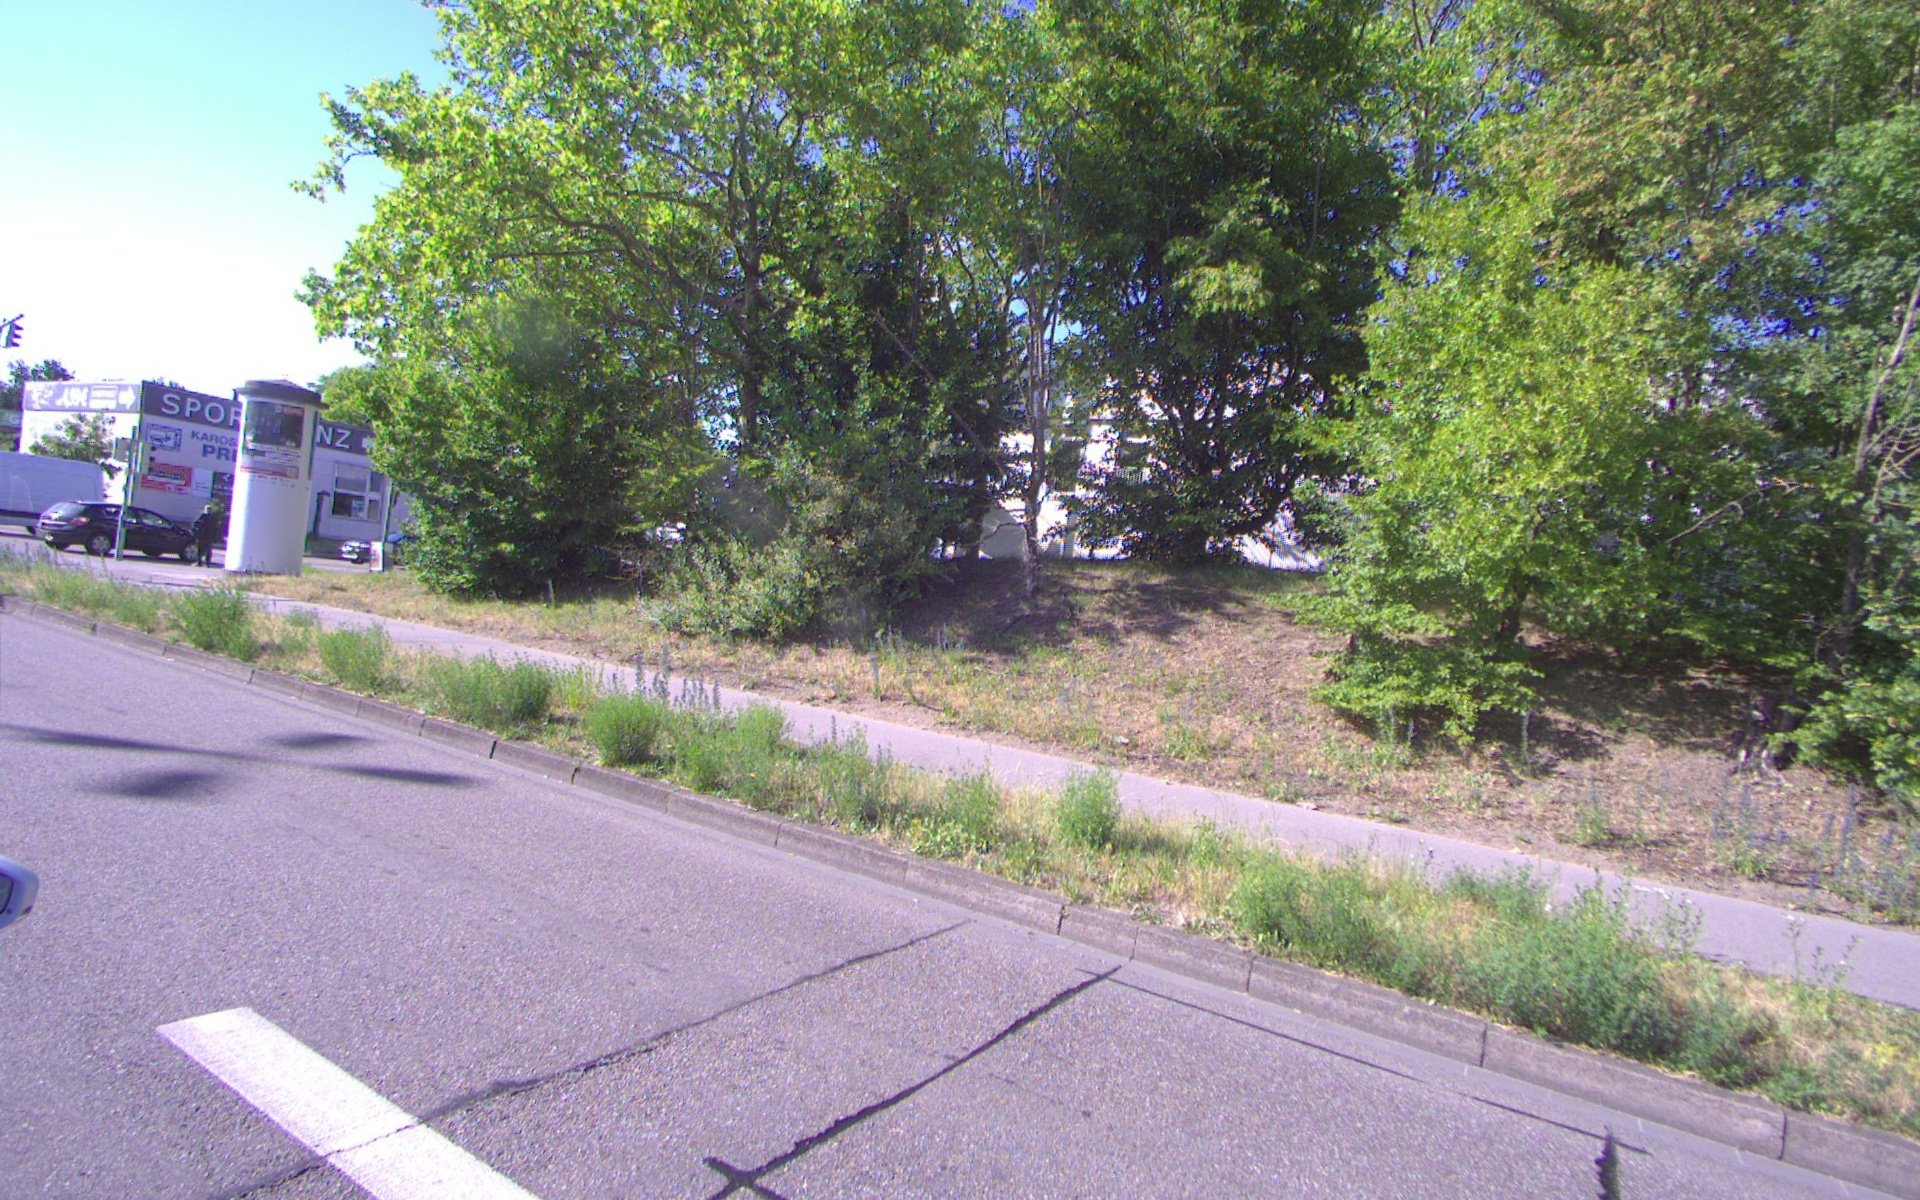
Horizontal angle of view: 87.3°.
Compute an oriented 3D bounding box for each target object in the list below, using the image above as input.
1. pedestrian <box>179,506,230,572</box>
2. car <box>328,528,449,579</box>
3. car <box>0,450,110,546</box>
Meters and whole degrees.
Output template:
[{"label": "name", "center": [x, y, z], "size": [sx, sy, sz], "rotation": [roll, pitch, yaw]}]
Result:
[{"label": "pedestrian", "center": [-20.997, -1.690, 27.965], "size": [0.506, 1.688, 0.818], "rotation": [6, -1, 31]}, {"label": "car", "center": [-24.427, -1.969, 43.131], "size": [1.848, 1.525, 3.995], "rotation": [6, -2, 32]}, {"label": "car", "center": [-31.033, -3.451, 31.867], "size": [1.967, 2.706, 5.840], "rotation": [6, 0, 32]}]
